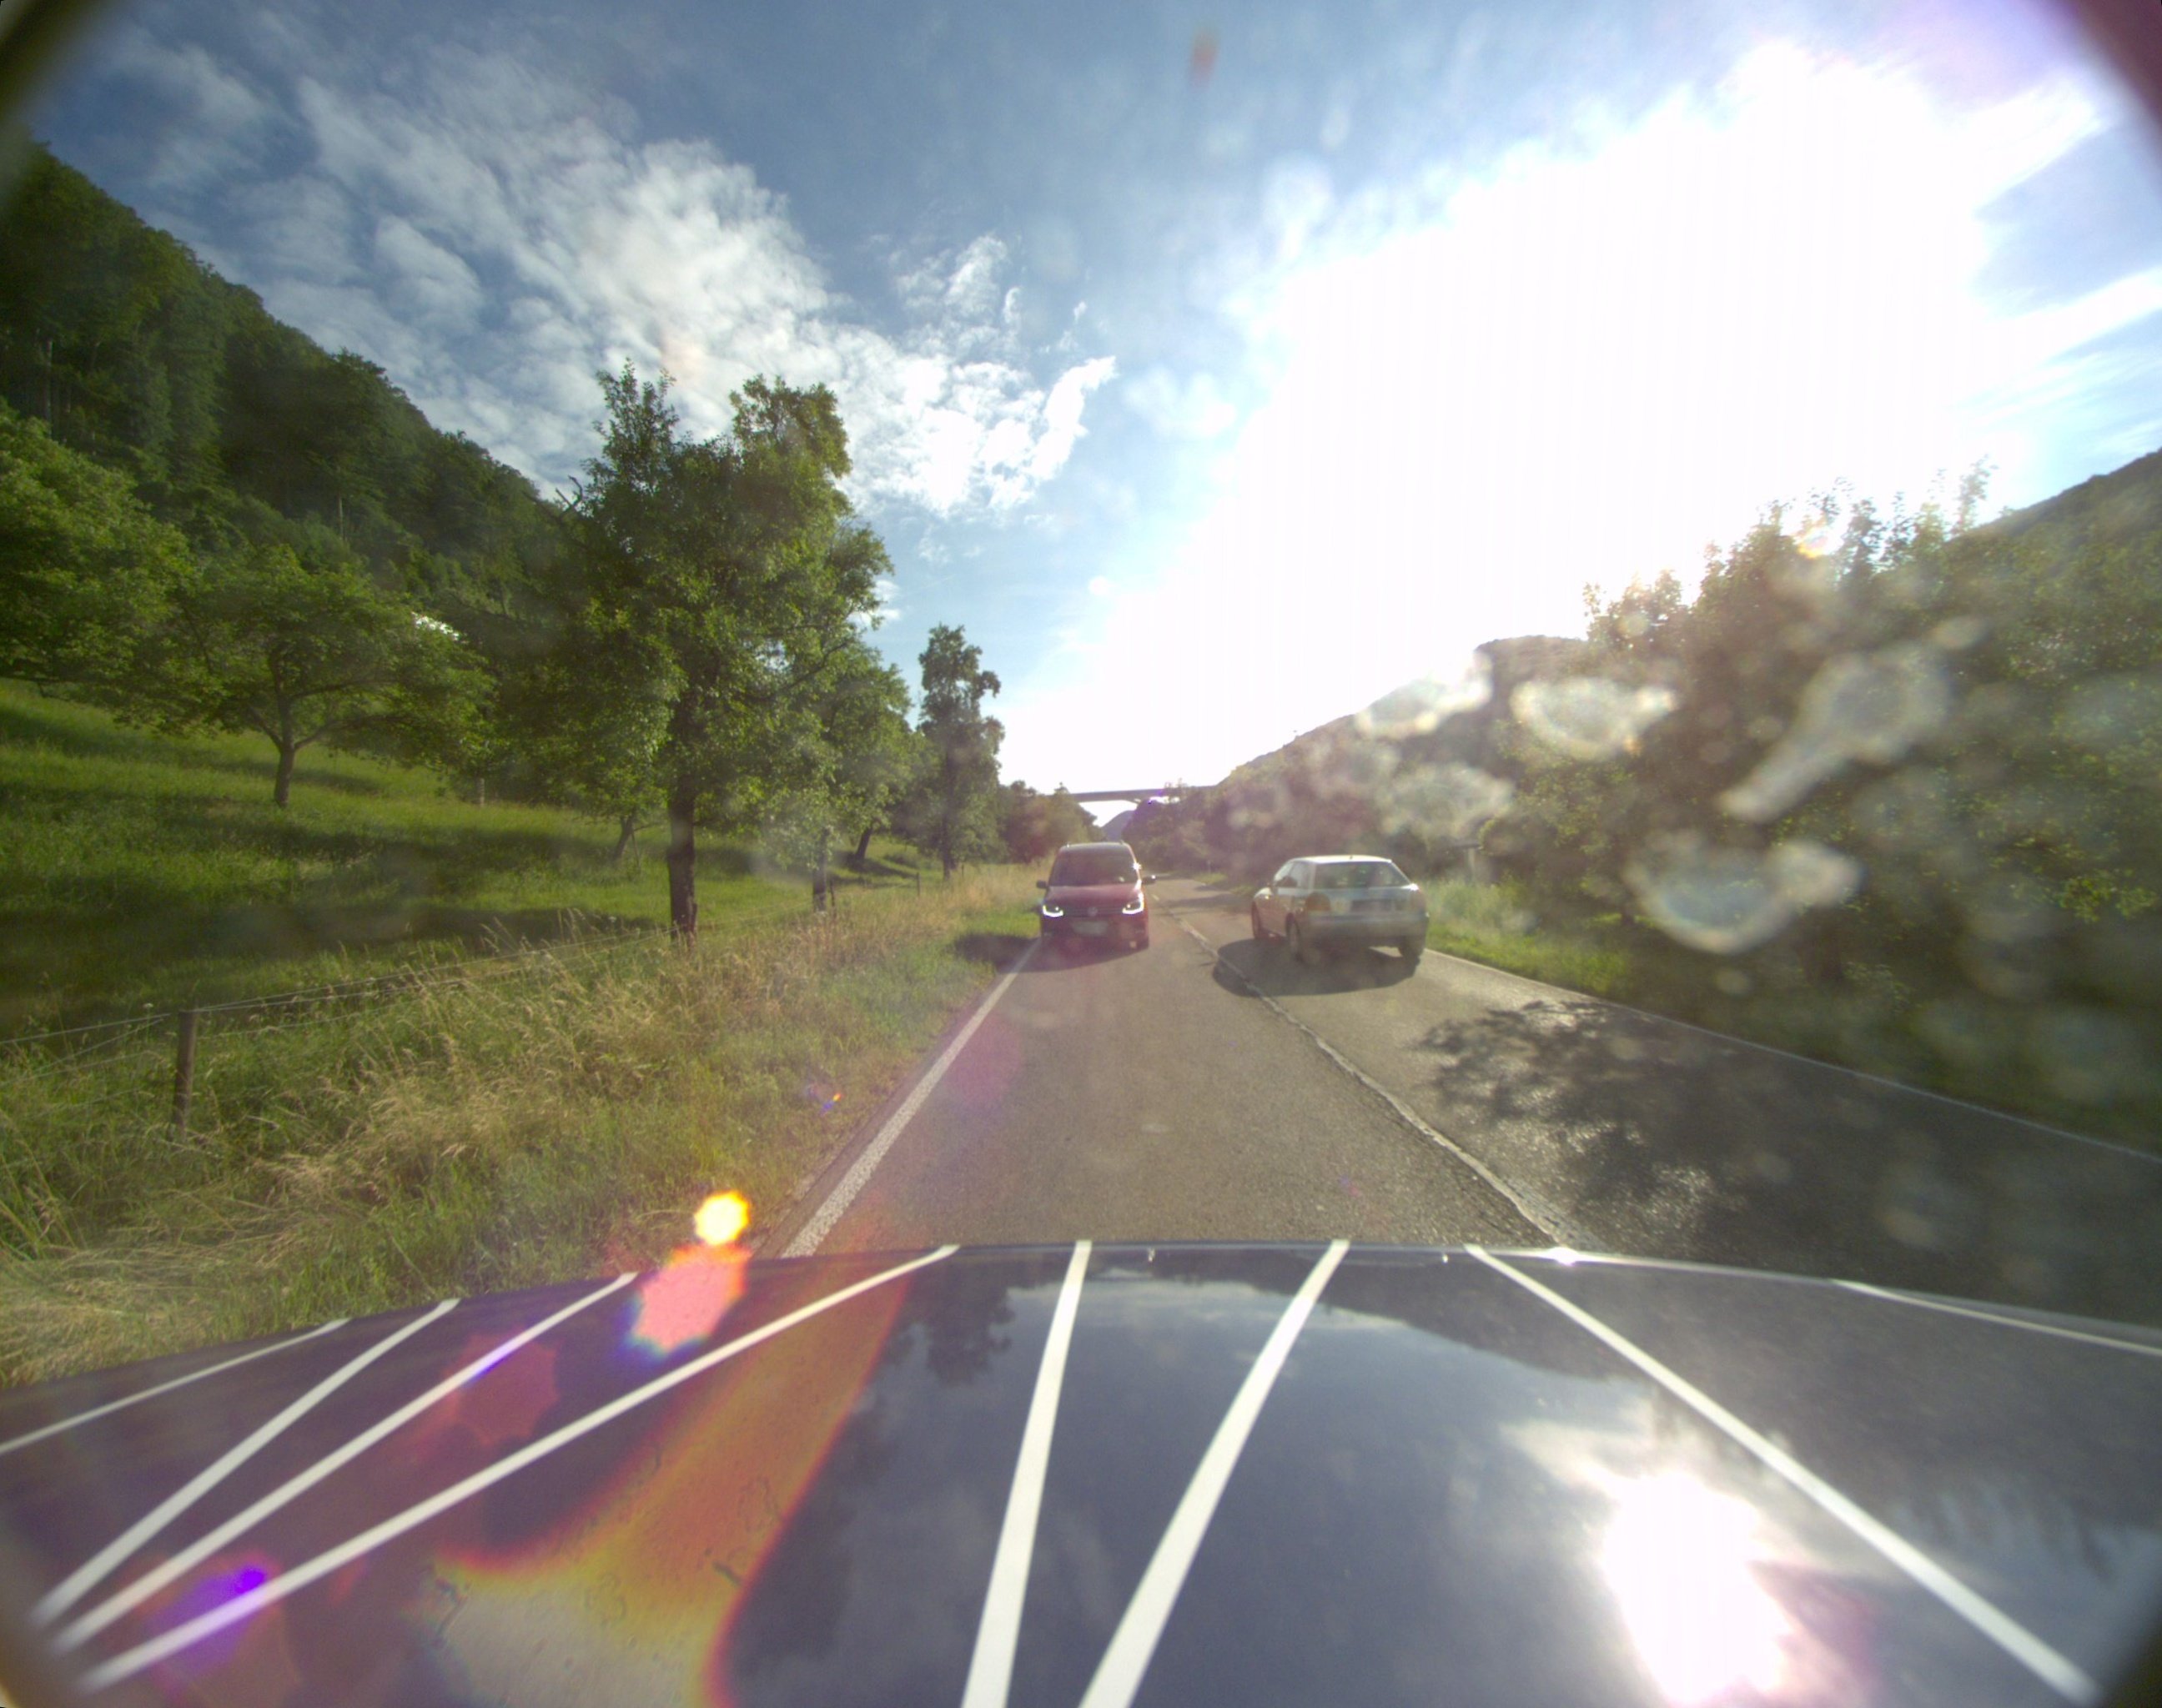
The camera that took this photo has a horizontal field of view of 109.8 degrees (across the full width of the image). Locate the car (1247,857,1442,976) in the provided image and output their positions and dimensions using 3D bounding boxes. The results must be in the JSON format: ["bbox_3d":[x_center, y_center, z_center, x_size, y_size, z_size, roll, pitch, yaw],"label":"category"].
[{"bbox_3d":[3.650,0.780,11.204,1.696,1.401,3.664,-1,0,2],"label":"car"}]

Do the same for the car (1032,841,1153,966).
[{"bbox_3d":[0.181,0.756,13.452,1.741,1.803,4.000,-3,0,0],"label":"car"}]
